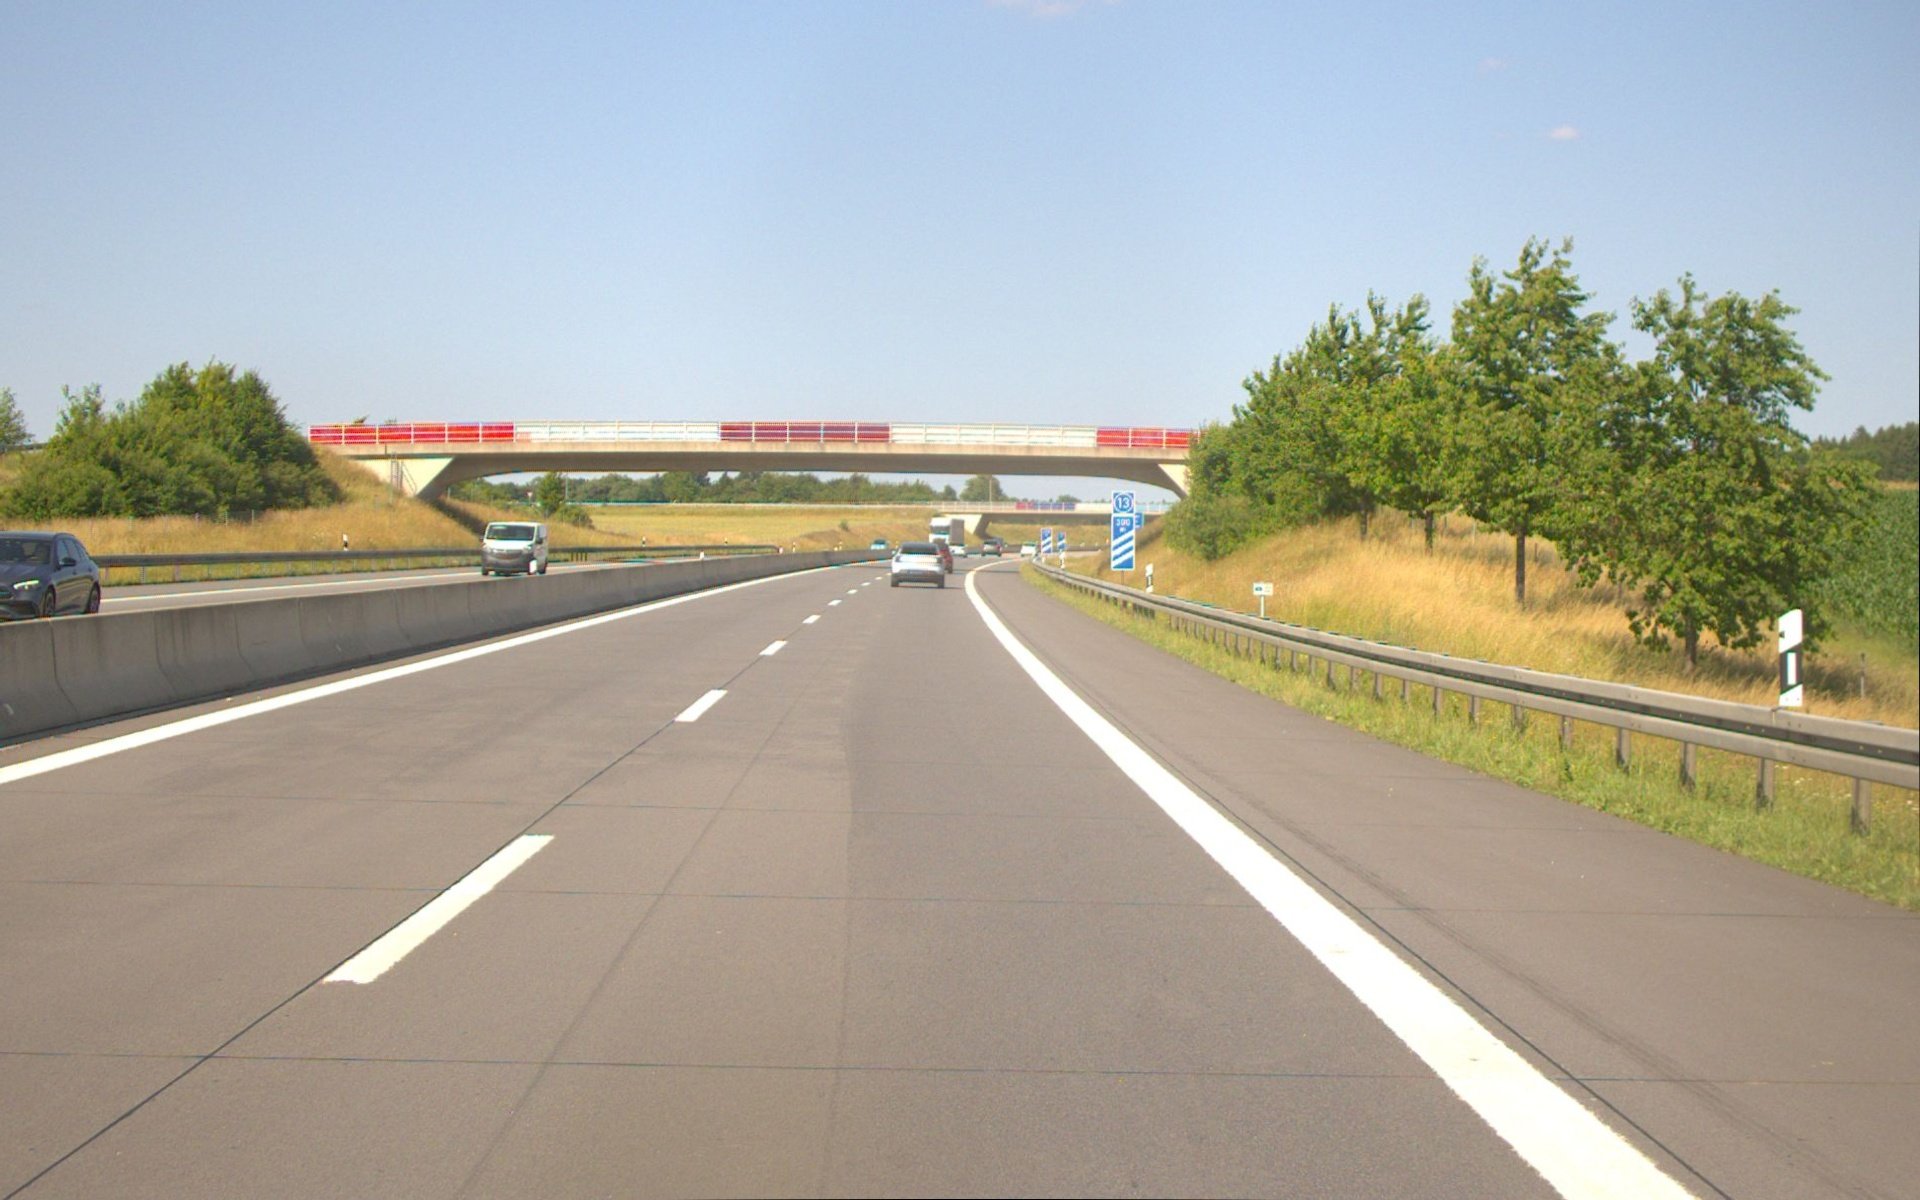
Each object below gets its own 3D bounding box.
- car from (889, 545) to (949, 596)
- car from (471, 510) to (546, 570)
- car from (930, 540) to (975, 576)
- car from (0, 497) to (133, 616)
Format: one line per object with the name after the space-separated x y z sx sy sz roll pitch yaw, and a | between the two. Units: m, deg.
-1.407 -1.038 118.593 1.993 1.725 4.869 0 1 0 | car
-16.233 -2.136 123.800 1.993 2.007 5.716 3 0 -2 | car
-0.368 -2.089 171.036 1.994 1.725 4.869 0 1 2 | car
-14.502 -0.719 53.756 1.907 1.679 5.007 3 2 -1 | car
